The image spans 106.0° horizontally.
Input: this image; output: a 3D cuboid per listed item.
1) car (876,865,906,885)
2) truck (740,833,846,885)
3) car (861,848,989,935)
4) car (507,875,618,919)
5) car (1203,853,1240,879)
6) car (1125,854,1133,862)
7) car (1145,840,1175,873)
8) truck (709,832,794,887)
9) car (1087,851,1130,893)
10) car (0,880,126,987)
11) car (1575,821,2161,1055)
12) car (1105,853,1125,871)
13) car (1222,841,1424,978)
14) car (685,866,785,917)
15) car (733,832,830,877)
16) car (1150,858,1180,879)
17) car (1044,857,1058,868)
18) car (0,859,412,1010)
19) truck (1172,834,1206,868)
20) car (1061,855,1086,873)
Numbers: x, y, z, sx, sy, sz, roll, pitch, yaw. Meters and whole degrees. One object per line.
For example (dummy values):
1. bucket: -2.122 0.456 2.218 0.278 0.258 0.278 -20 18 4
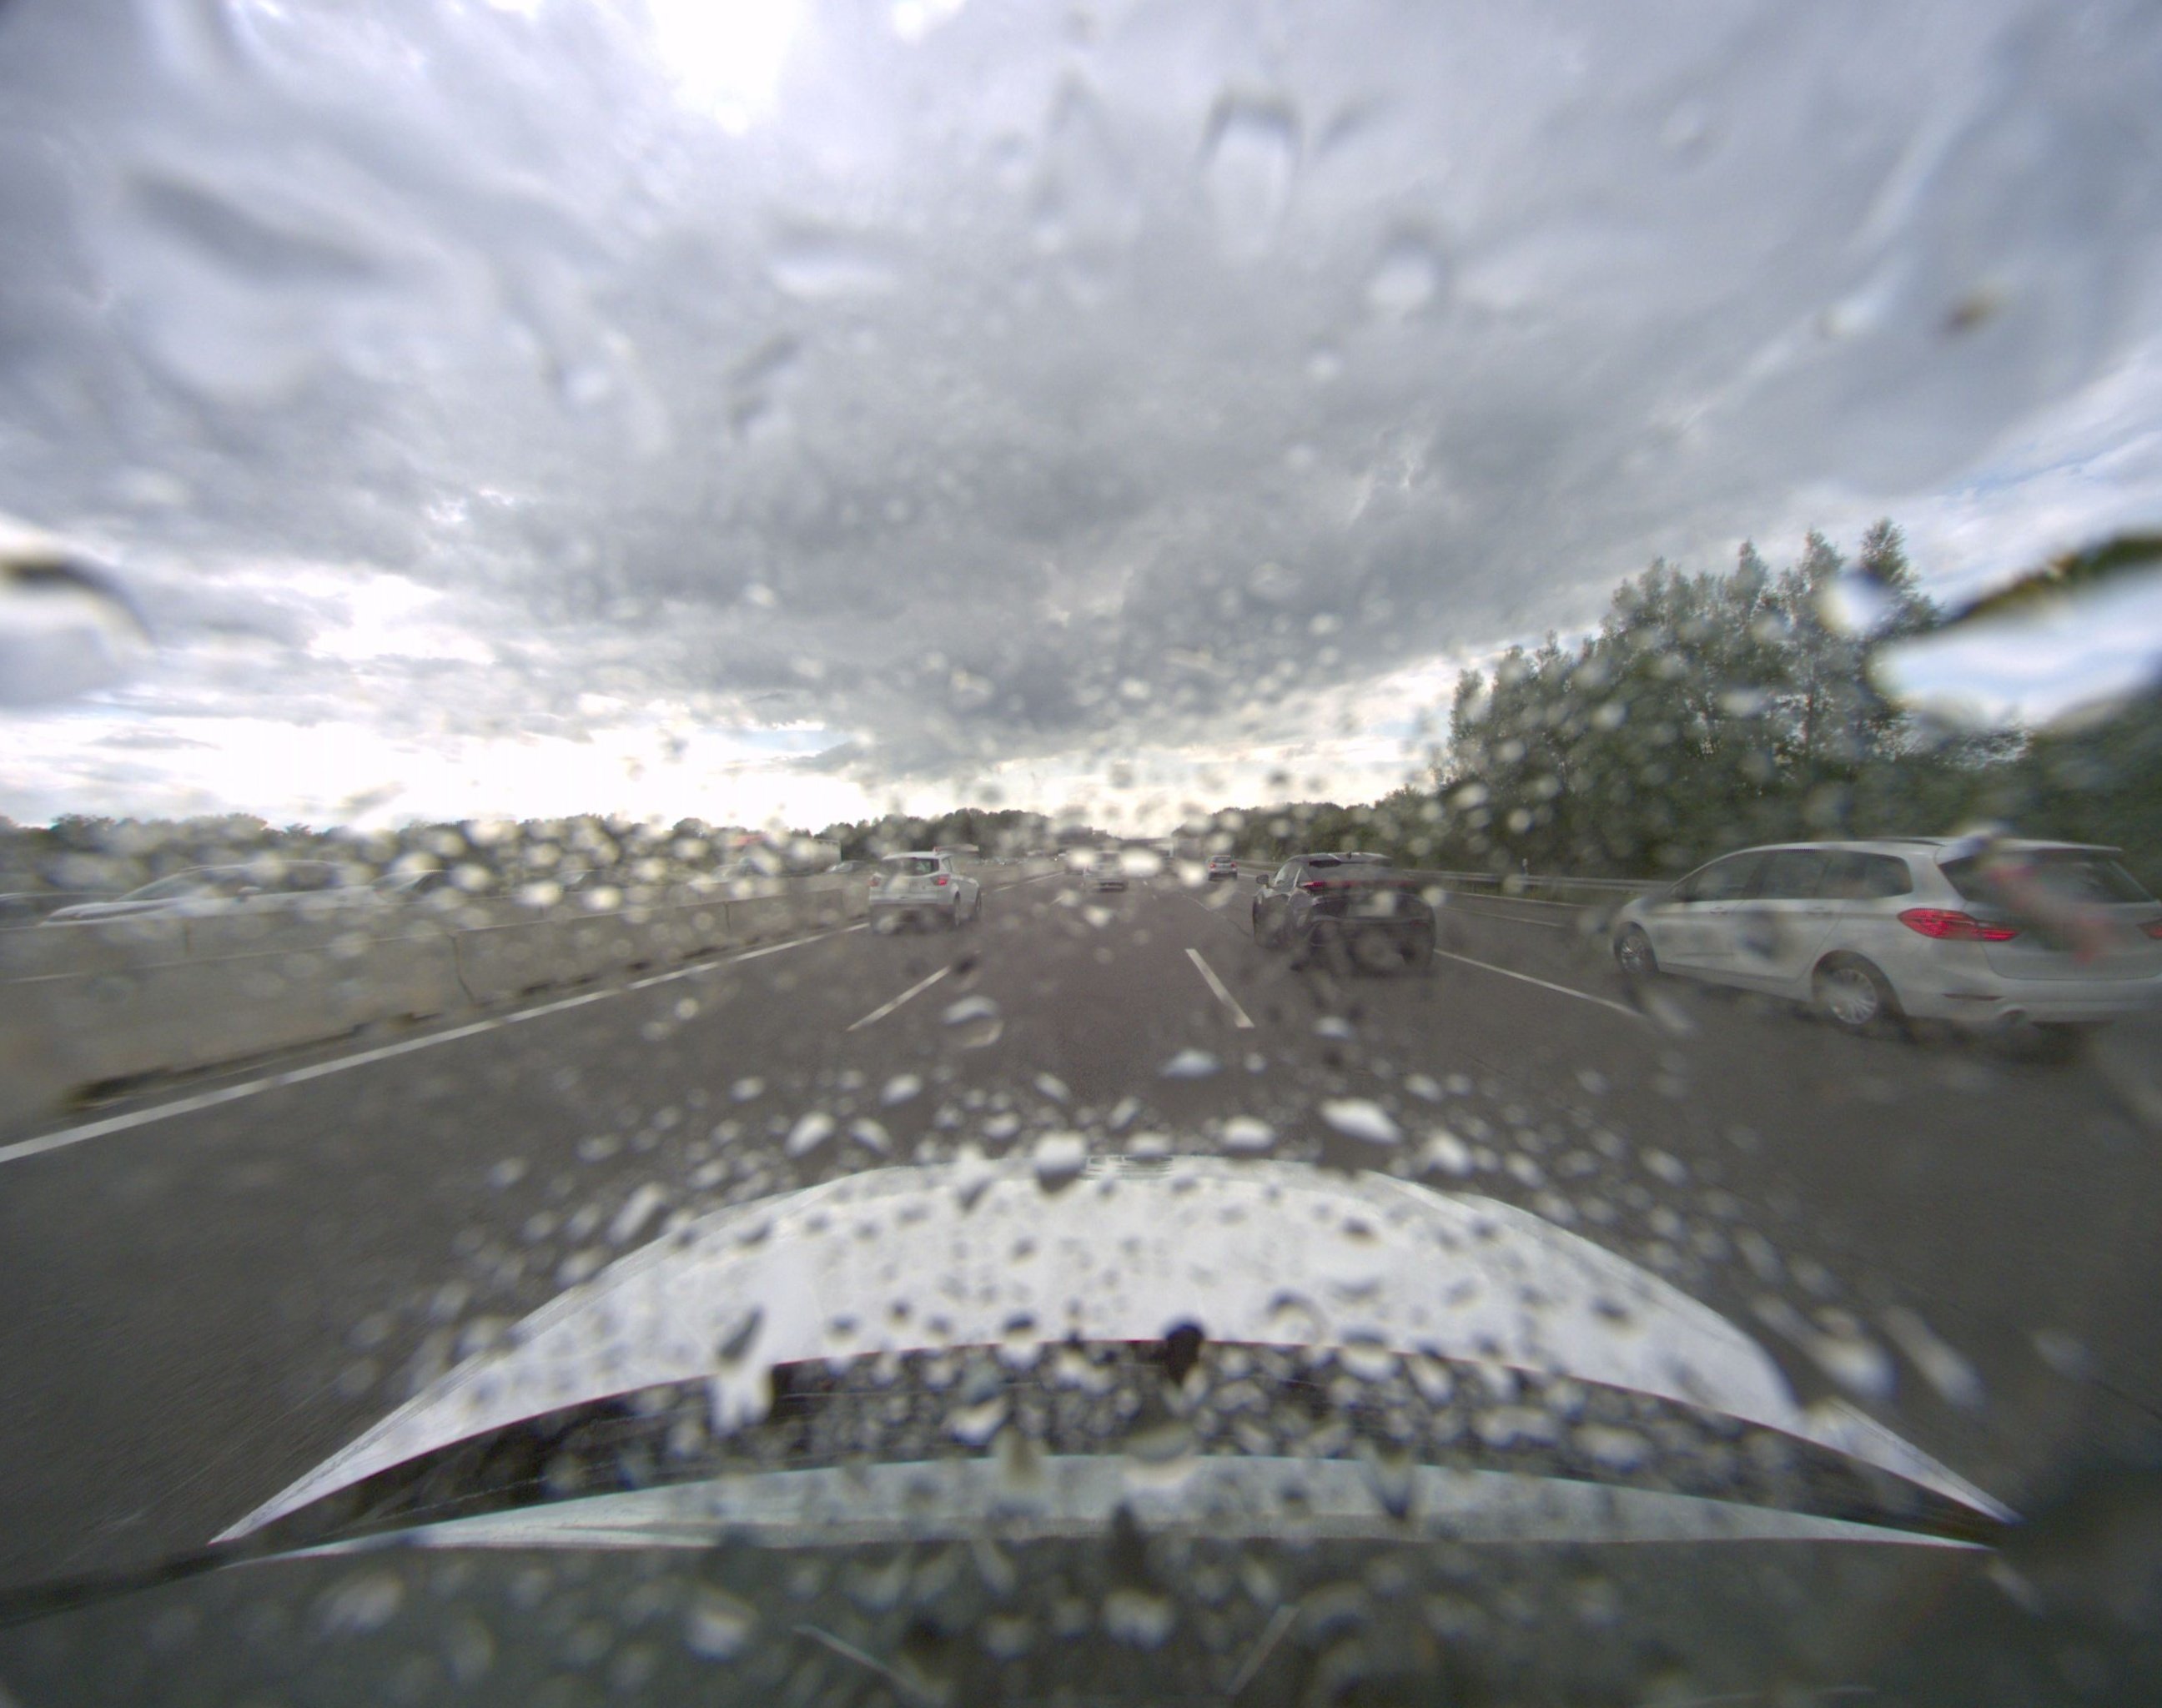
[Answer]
1. car: -20.468 2.218 87.901 1.985 2.013 4.429 -1 0 4
2. truck: -22.907 0.367 66.037 3.135 3.745 13.310 -1 0 3
3. car: -3.385 0.730 18.655 1.808 1.689 4.854 -1 0 2
4. car: -20.104 1.622 31.796 1.609 1.522 4.003 -1 0 3
5. car: 8.436 0.687 49.242 1.787 1.477 4.041 -1 0 4
6. car: 11.385 0.978 193.180 1.874 1.686 4.001 -1 0 2
7. car: 7.401 0.226 77.128 2.556 2.895 7.540 -1 0 3
8. truck: -23.390 0.386 58.232 3.137 3.712 6.325 -1 0 4
9. car: 1.238 0.760 36.465 1.774 1.716 4.354 -1 0 2
10. car: -22.006 1.599 15.733 1.985 2.013 4.231 -1 0 3
11. car: 7.088 0.582 7.966 1.803 1.599 4.698 -1 0 2
12. car: 3.228 0.733 78.699 1.874 1.686 4.001 -1 0 2
13. car: 3.284 0.668 12.005 1.774 1.613 4.601 -1 0 2
14. car: -12.883 1.357 30.592 1.796 1.719 4.004 -1 0 3
15. car: -15.858 0.035 43.617 2.249 2.165 6.823 -1 0 4
16. car: 5.767 0.971 56.454 1.877 1.407 4.286 -1 0 3
17. car: -5.491 1.566 147.964 1.984 1.904 4.508 -1 0 4
18. car: -13.674 1.110 13.201 1.985 2.013 4.267 -1 0 3
19. truck: 12.454 -0.374 94.878 3.120 3.709 9.856 -1 0 3
20. car: -0.588 0.819 71.080 1.772 1.481 4.358 -1 0 4
